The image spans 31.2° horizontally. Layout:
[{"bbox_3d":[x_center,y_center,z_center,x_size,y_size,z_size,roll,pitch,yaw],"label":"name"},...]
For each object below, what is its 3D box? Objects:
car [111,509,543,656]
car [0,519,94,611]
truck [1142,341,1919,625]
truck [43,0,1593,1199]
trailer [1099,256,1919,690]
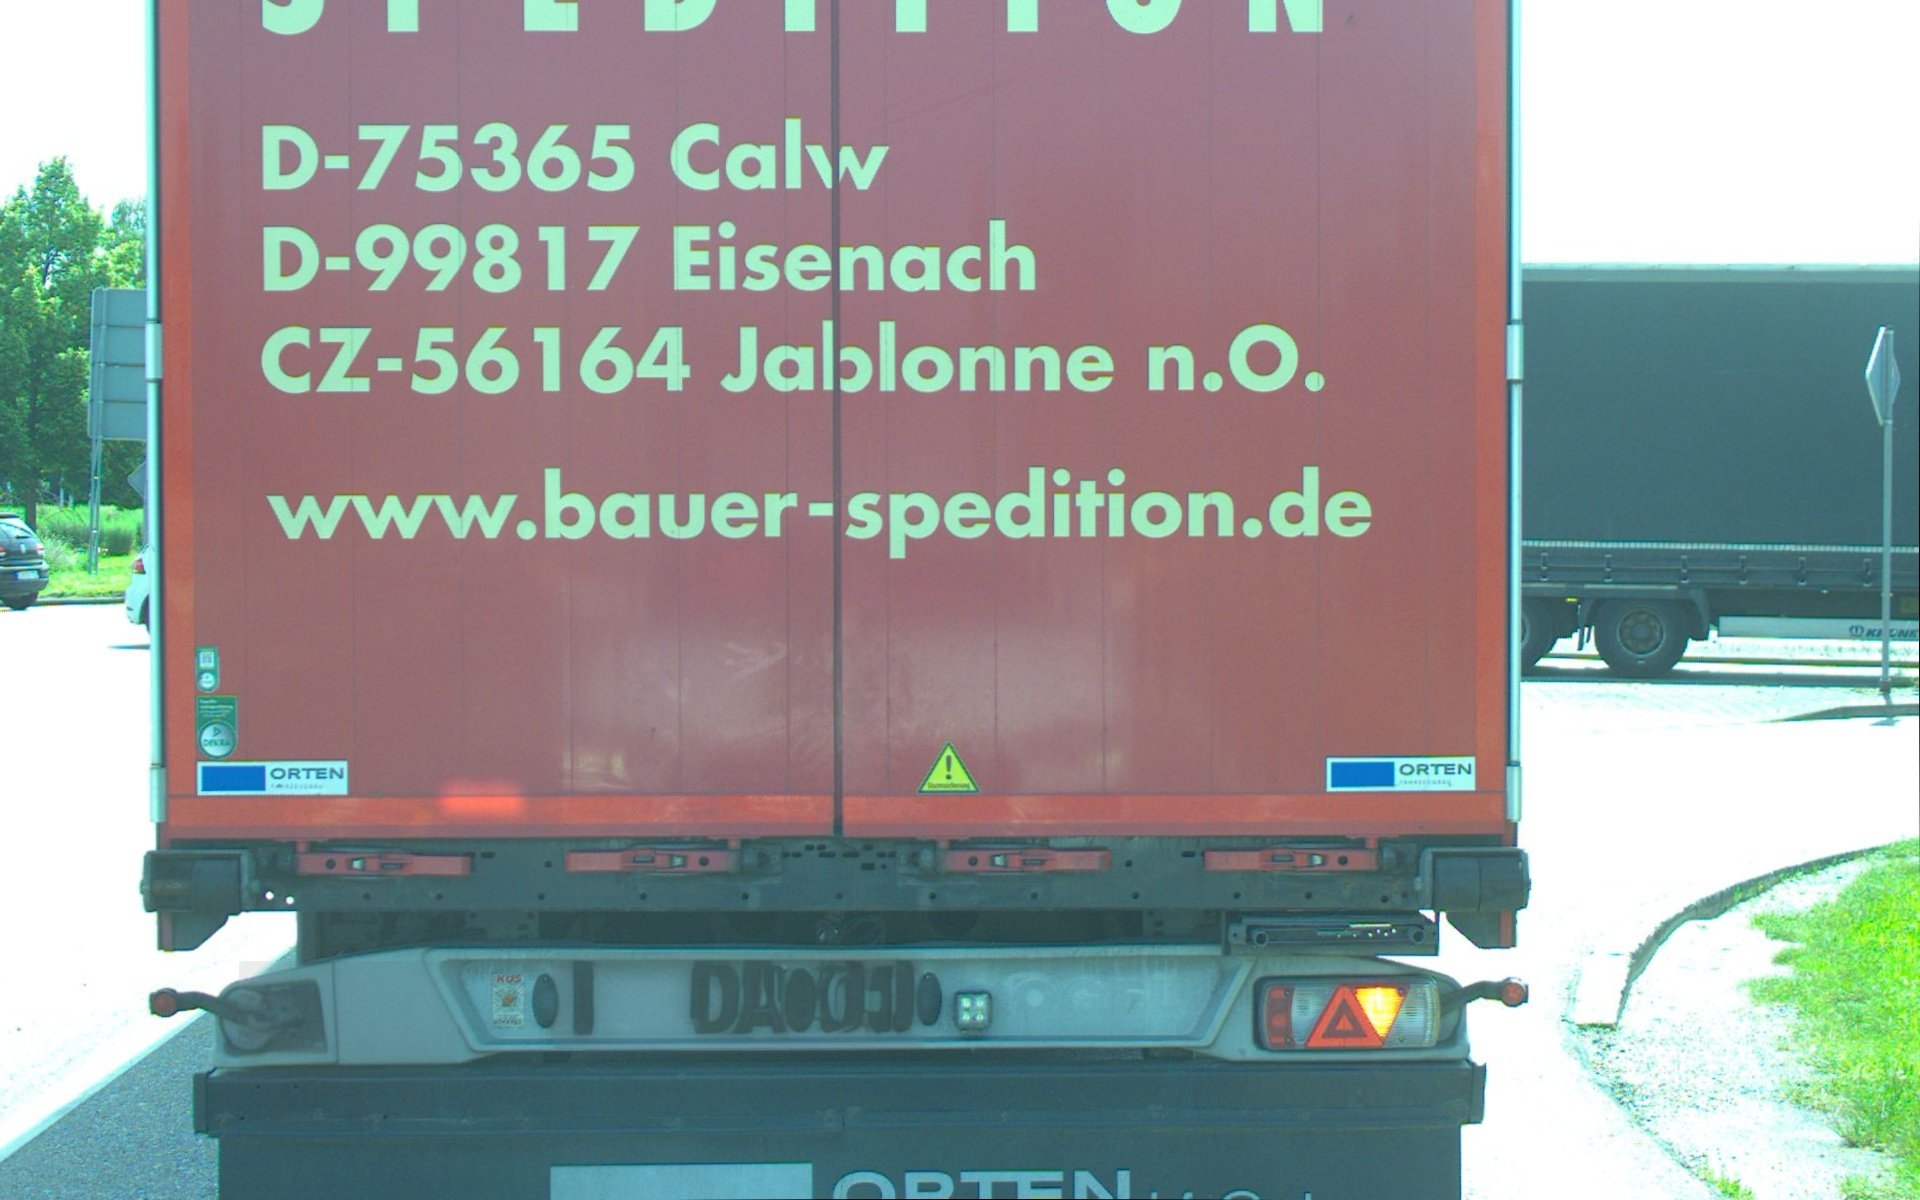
[{"bbox_3d":[-6.861,-0.224,37.330,4.250,1.456,1.808,1,2,17],"label":"car"},{"bbox_3d":[-14.879,-0.538,50.168,4.273,1.300,1.739,1,1,27],"label":"car"},{"bbox_3d":[9.879,-1.803,51.675,14.304,3.966,3.023,2,2,28],"label":"truck"},{"bbox_3d":[-0.381,-0.791,14.400,2.734,3.911,16.627,0,1,-1],"label":"truck"},{"bbox_3d":[8.371,-1.244,33.585,13.692,4.047,2.797,1,2,13],"label":"trailer"}]
